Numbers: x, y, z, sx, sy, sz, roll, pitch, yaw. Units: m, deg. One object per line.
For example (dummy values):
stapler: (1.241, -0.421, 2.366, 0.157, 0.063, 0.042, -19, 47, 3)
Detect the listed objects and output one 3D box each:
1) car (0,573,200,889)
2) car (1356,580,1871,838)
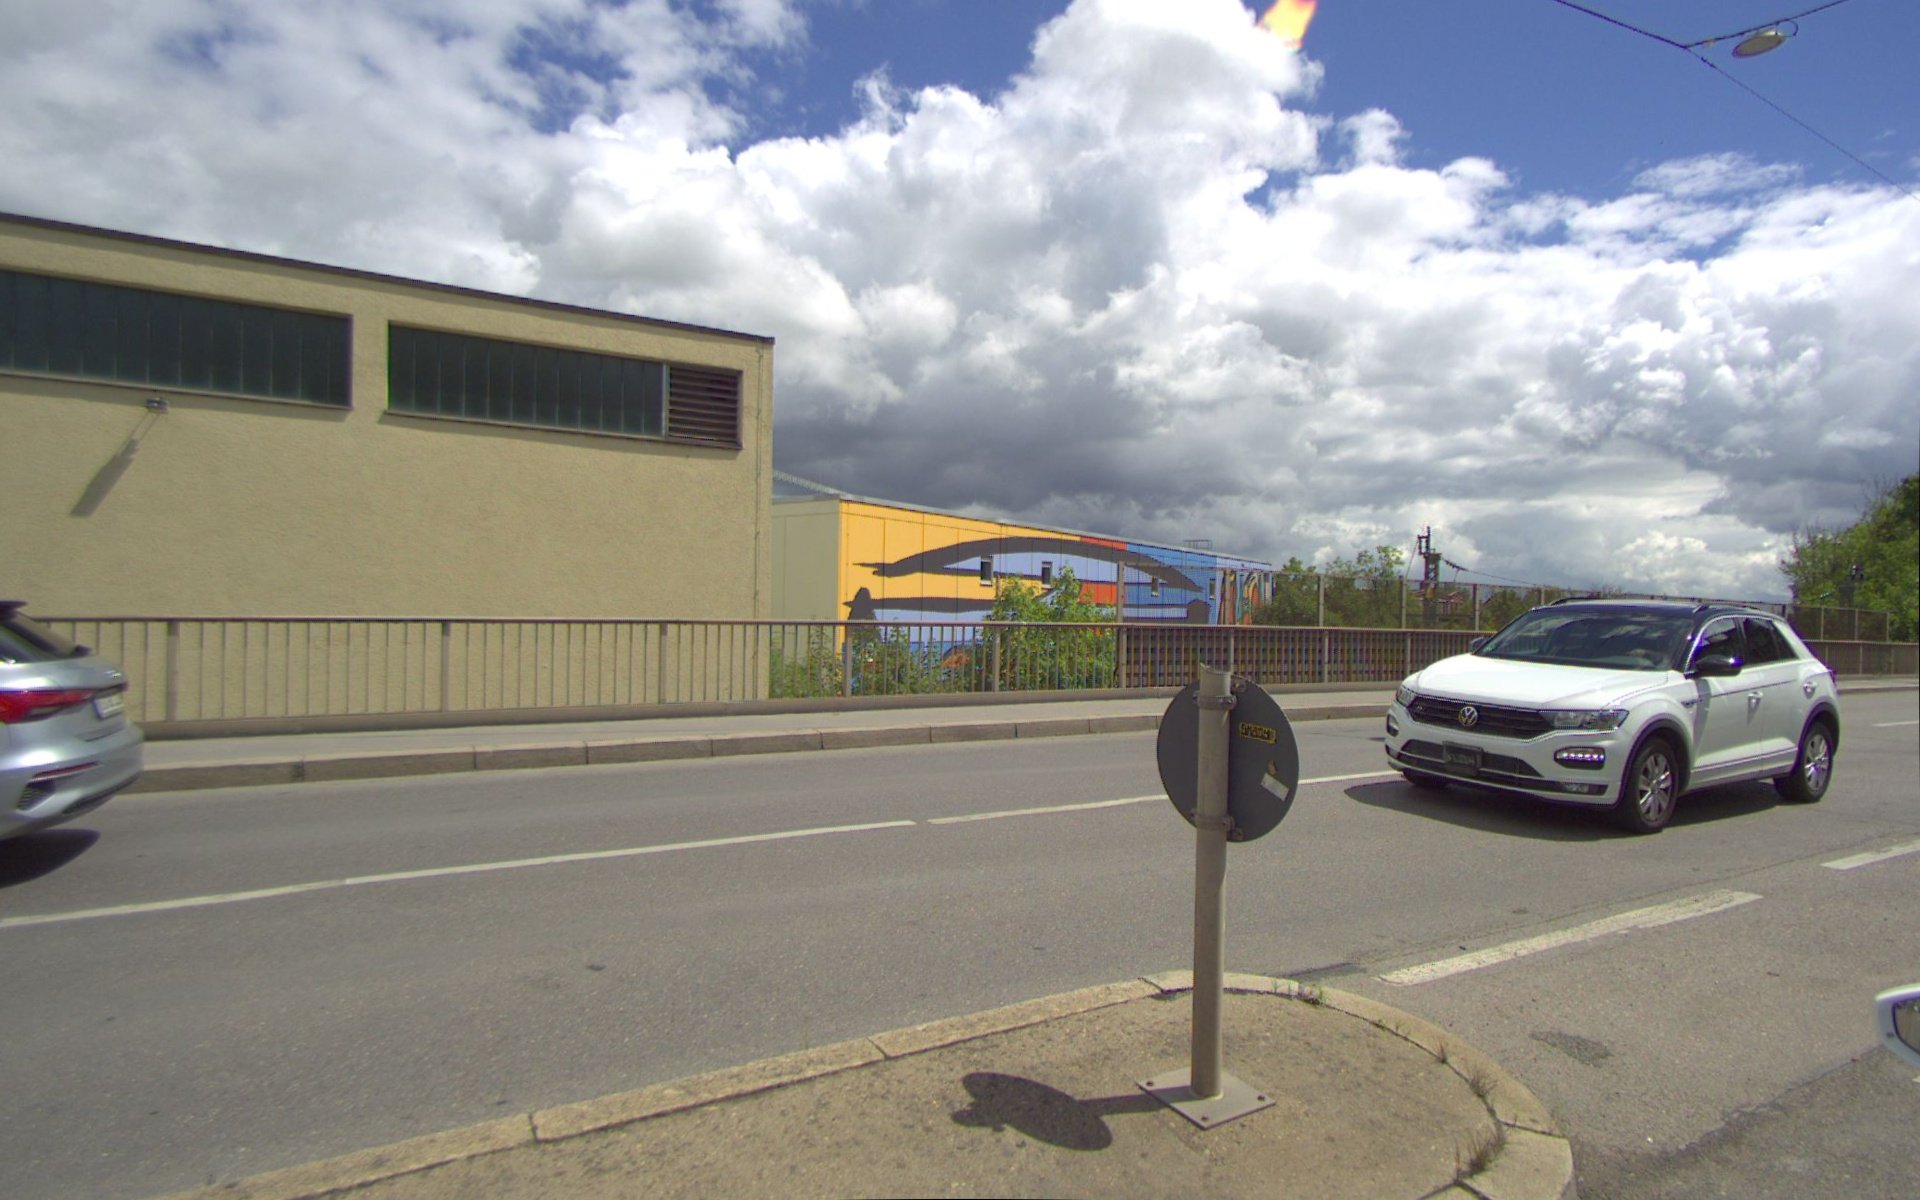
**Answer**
car: (-5.980, 0.554, 4.293, 4.145, 1.381, 1.629, 1, -1, -30)
car: (5.294, 0.710, 8.023, 4.159, 1.581, 1.801, 2, 0, -31)
